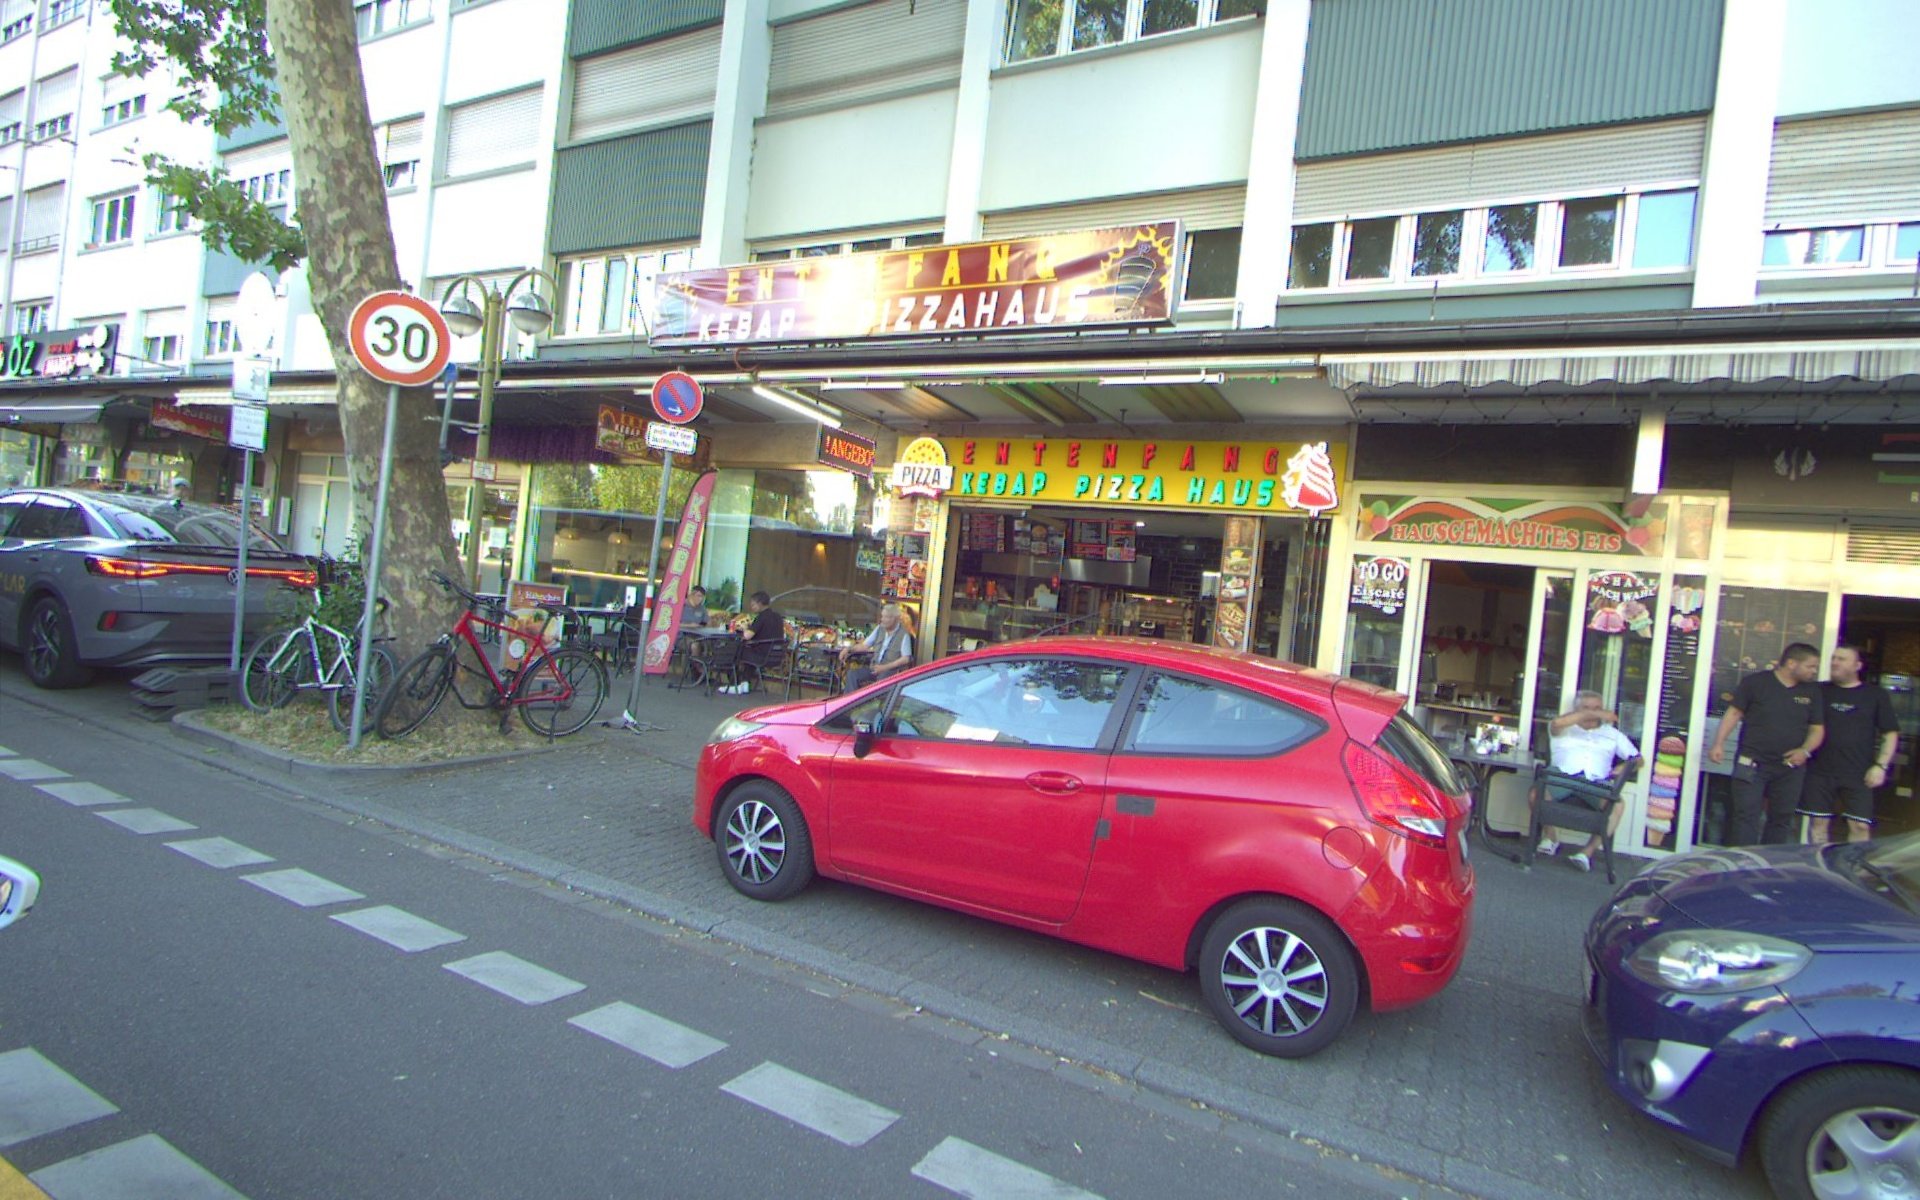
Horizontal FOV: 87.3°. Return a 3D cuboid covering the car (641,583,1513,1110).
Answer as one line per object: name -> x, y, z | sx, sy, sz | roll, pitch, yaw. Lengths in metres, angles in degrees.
car -> 0.479, 0.848, 4.999 | 3.780, 1.448, 1.668 | 7, 2, 27

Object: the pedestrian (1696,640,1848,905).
pedestrian -> 5.849, 1.202, 7.292 | 0.587, 1.759, 0.587 | 8, 3, 32

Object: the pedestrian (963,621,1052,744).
pedestrian -> 0.494, 0.827, 10.387 | 0.585, 1.172, 0.671 | 6, 3, 31

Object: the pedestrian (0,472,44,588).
pedestrian -> -17.486, -1.293, 18.476 | 0.685, 2.038, 0.691 | 7, 1, 32

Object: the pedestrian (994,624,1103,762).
pedestrian -> 0.834, 0.840, 9.417 | 0.740, 1.172, 0.593 | 6, 3, 33

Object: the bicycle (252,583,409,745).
bicycle -> -4.442, 0.427, 7.084 | 1.110, 0.941, 0.295 | 9, 6, 21

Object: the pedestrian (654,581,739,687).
pedestrian -> -3.234, 0.409, 12.366 | 0.694, 1.220, 0.675 | 7, 3, 41

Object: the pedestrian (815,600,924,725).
pedestrian -> -0.977, 0.664, 10.871 | 0.861, 1.237, 0.688 | 2, 3, -44

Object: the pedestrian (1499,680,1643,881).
pedestrian -> 4.639, 1.298, 7.628 | 0.767, 1.249, 1.202 | 6, 3, 33

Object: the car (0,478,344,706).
car -> -7.839, -0.203, 9.217 | 4.223, 1.619, 1.742 | 7, 2, 27

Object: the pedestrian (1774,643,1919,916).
pedestrian -> 6.435, 1.236, 7.211 | 0.636, 1.783, 0.610 | 8, 3, 29

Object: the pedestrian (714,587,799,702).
pedestrian -> -2.389, 0.511, 11.803 | 0.701, 1.260, 0.614 | 7, 3, 41

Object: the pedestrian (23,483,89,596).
pedestrian -> -17.146, -1.139, 19.081 | 0.685, 2.038, 0.613 | 7, 1, 31

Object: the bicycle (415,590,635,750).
bicycle -> -3.231, 0.506, 7.563 | 0.291, 1.082, 1.455 | 12, 7, 42

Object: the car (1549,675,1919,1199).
car -> 3.874, 1.225, 2.910 | 3.543, 1.485, 1.620 | 7, 2, 29

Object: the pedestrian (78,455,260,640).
pedestrian -> -9.039, -0.572, 11.554 | 1.102, 1.913, 1.025 | 6, 0, -1
